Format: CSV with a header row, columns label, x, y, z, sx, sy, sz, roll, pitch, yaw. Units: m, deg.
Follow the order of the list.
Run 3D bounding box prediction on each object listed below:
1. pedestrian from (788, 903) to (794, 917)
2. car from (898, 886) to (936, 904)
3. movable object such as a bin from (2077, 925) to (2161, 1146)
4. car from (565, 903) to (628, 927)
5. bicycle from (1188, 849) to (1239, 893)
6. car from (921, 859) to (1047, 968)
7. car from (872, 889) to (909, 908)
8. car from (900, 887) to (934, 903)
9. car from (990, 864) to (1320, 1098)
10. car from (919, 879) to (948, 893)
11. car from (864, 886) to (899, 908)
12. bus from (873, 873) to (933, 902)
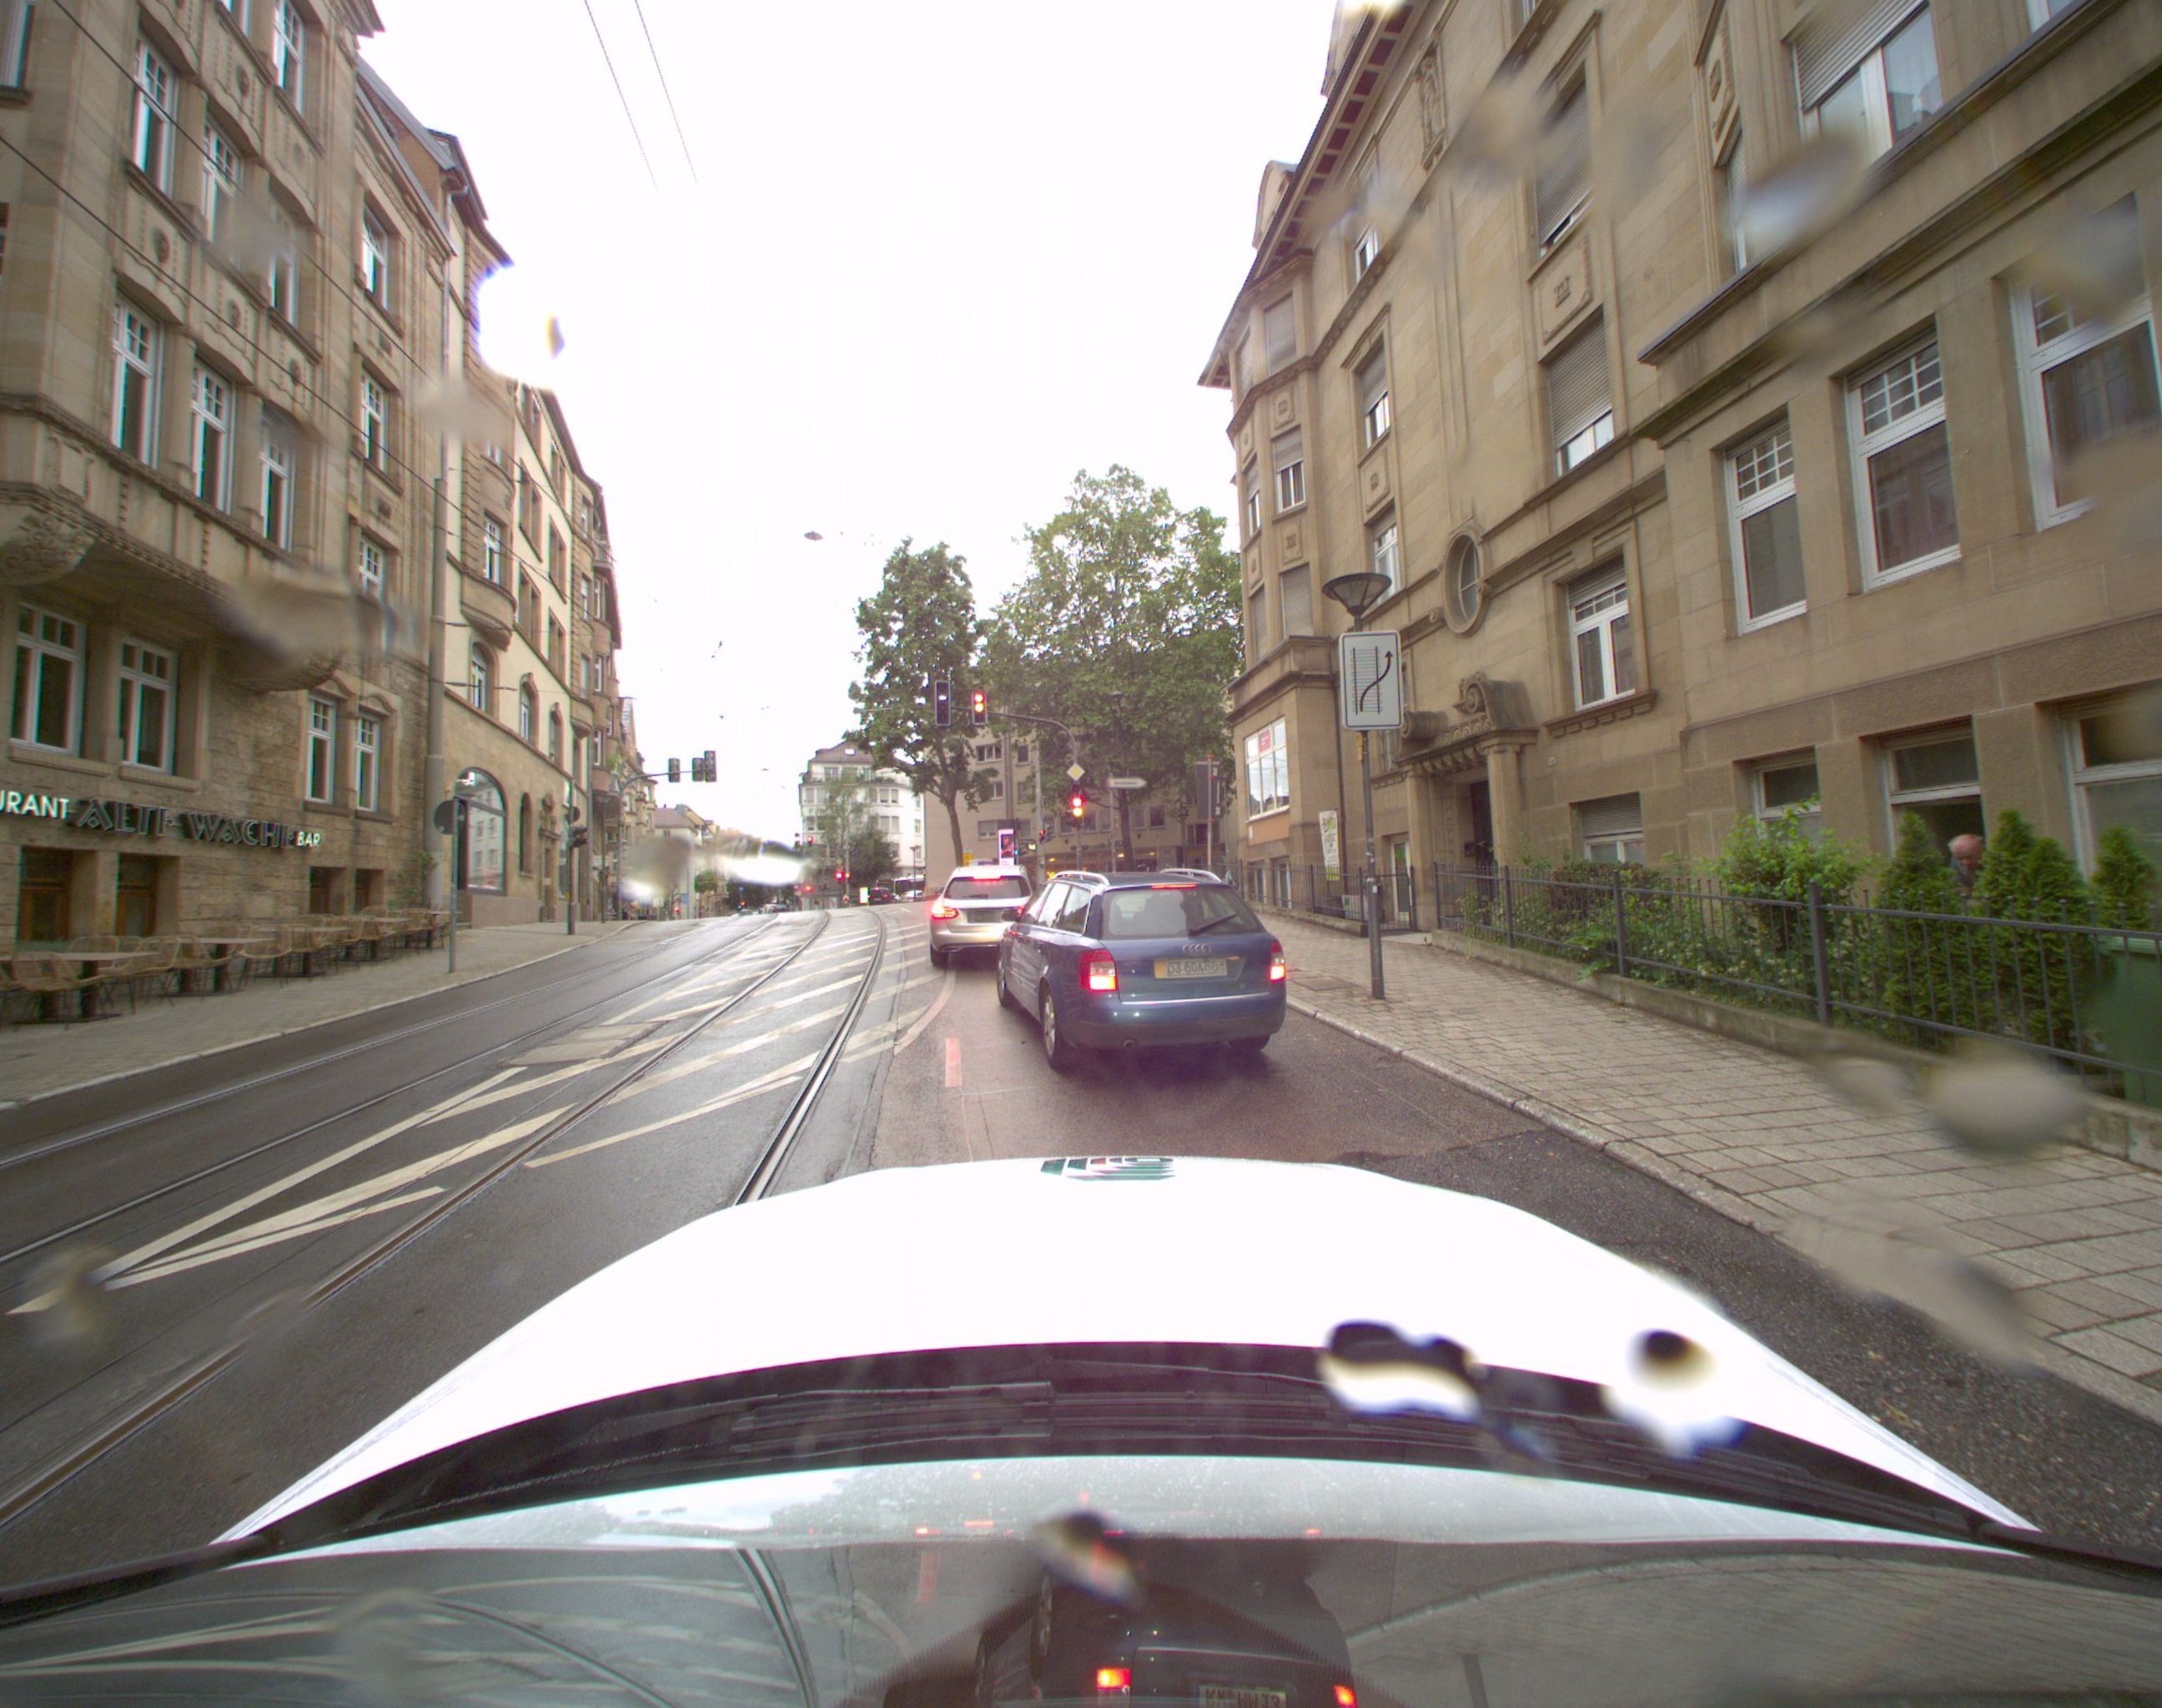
label,x,y,z,sx,sy,sz,roll,pitch,yaw
pedestrian,-36.951,7.144,103.767,0.650,1.661,0.646,-1,-1,-18
car,-16.627,4.151,82.844,1.781,1.510,4.684,-3,0,15
movable object such as a bin,5.405,0.880,3.908,0.537,1.026,0.602,2,-2,-10
car,-37.651,4.729,63.372,4.008,1.510,1.785,-2,0,-26
bicycle,3.861,0.496,23.755,1.300,1.173,0.524,-4,0,-11
car,-1.497,0.831,13.092,1.708,1.456,3.546,-1,0,-5
car,-19.764,4.607,84.689,1.779,1.614,4.020,-3,0,20
car,-18.219,4.583,90.756,1.779,1.510,4.020,-3,0,20
car,0.314,0.831,7.333,1.713,1.415,4.016,-1,0,-14
car,-18.528,4.031,102.496,1.779,1.510,4.020,-3,0,20
car,-16.647,3.552,68.245,1.788,1.510,4.000,-5,0,1
bus,-20.662,3.809,95.052,2.832,2.861,8.771,-3,0,16
